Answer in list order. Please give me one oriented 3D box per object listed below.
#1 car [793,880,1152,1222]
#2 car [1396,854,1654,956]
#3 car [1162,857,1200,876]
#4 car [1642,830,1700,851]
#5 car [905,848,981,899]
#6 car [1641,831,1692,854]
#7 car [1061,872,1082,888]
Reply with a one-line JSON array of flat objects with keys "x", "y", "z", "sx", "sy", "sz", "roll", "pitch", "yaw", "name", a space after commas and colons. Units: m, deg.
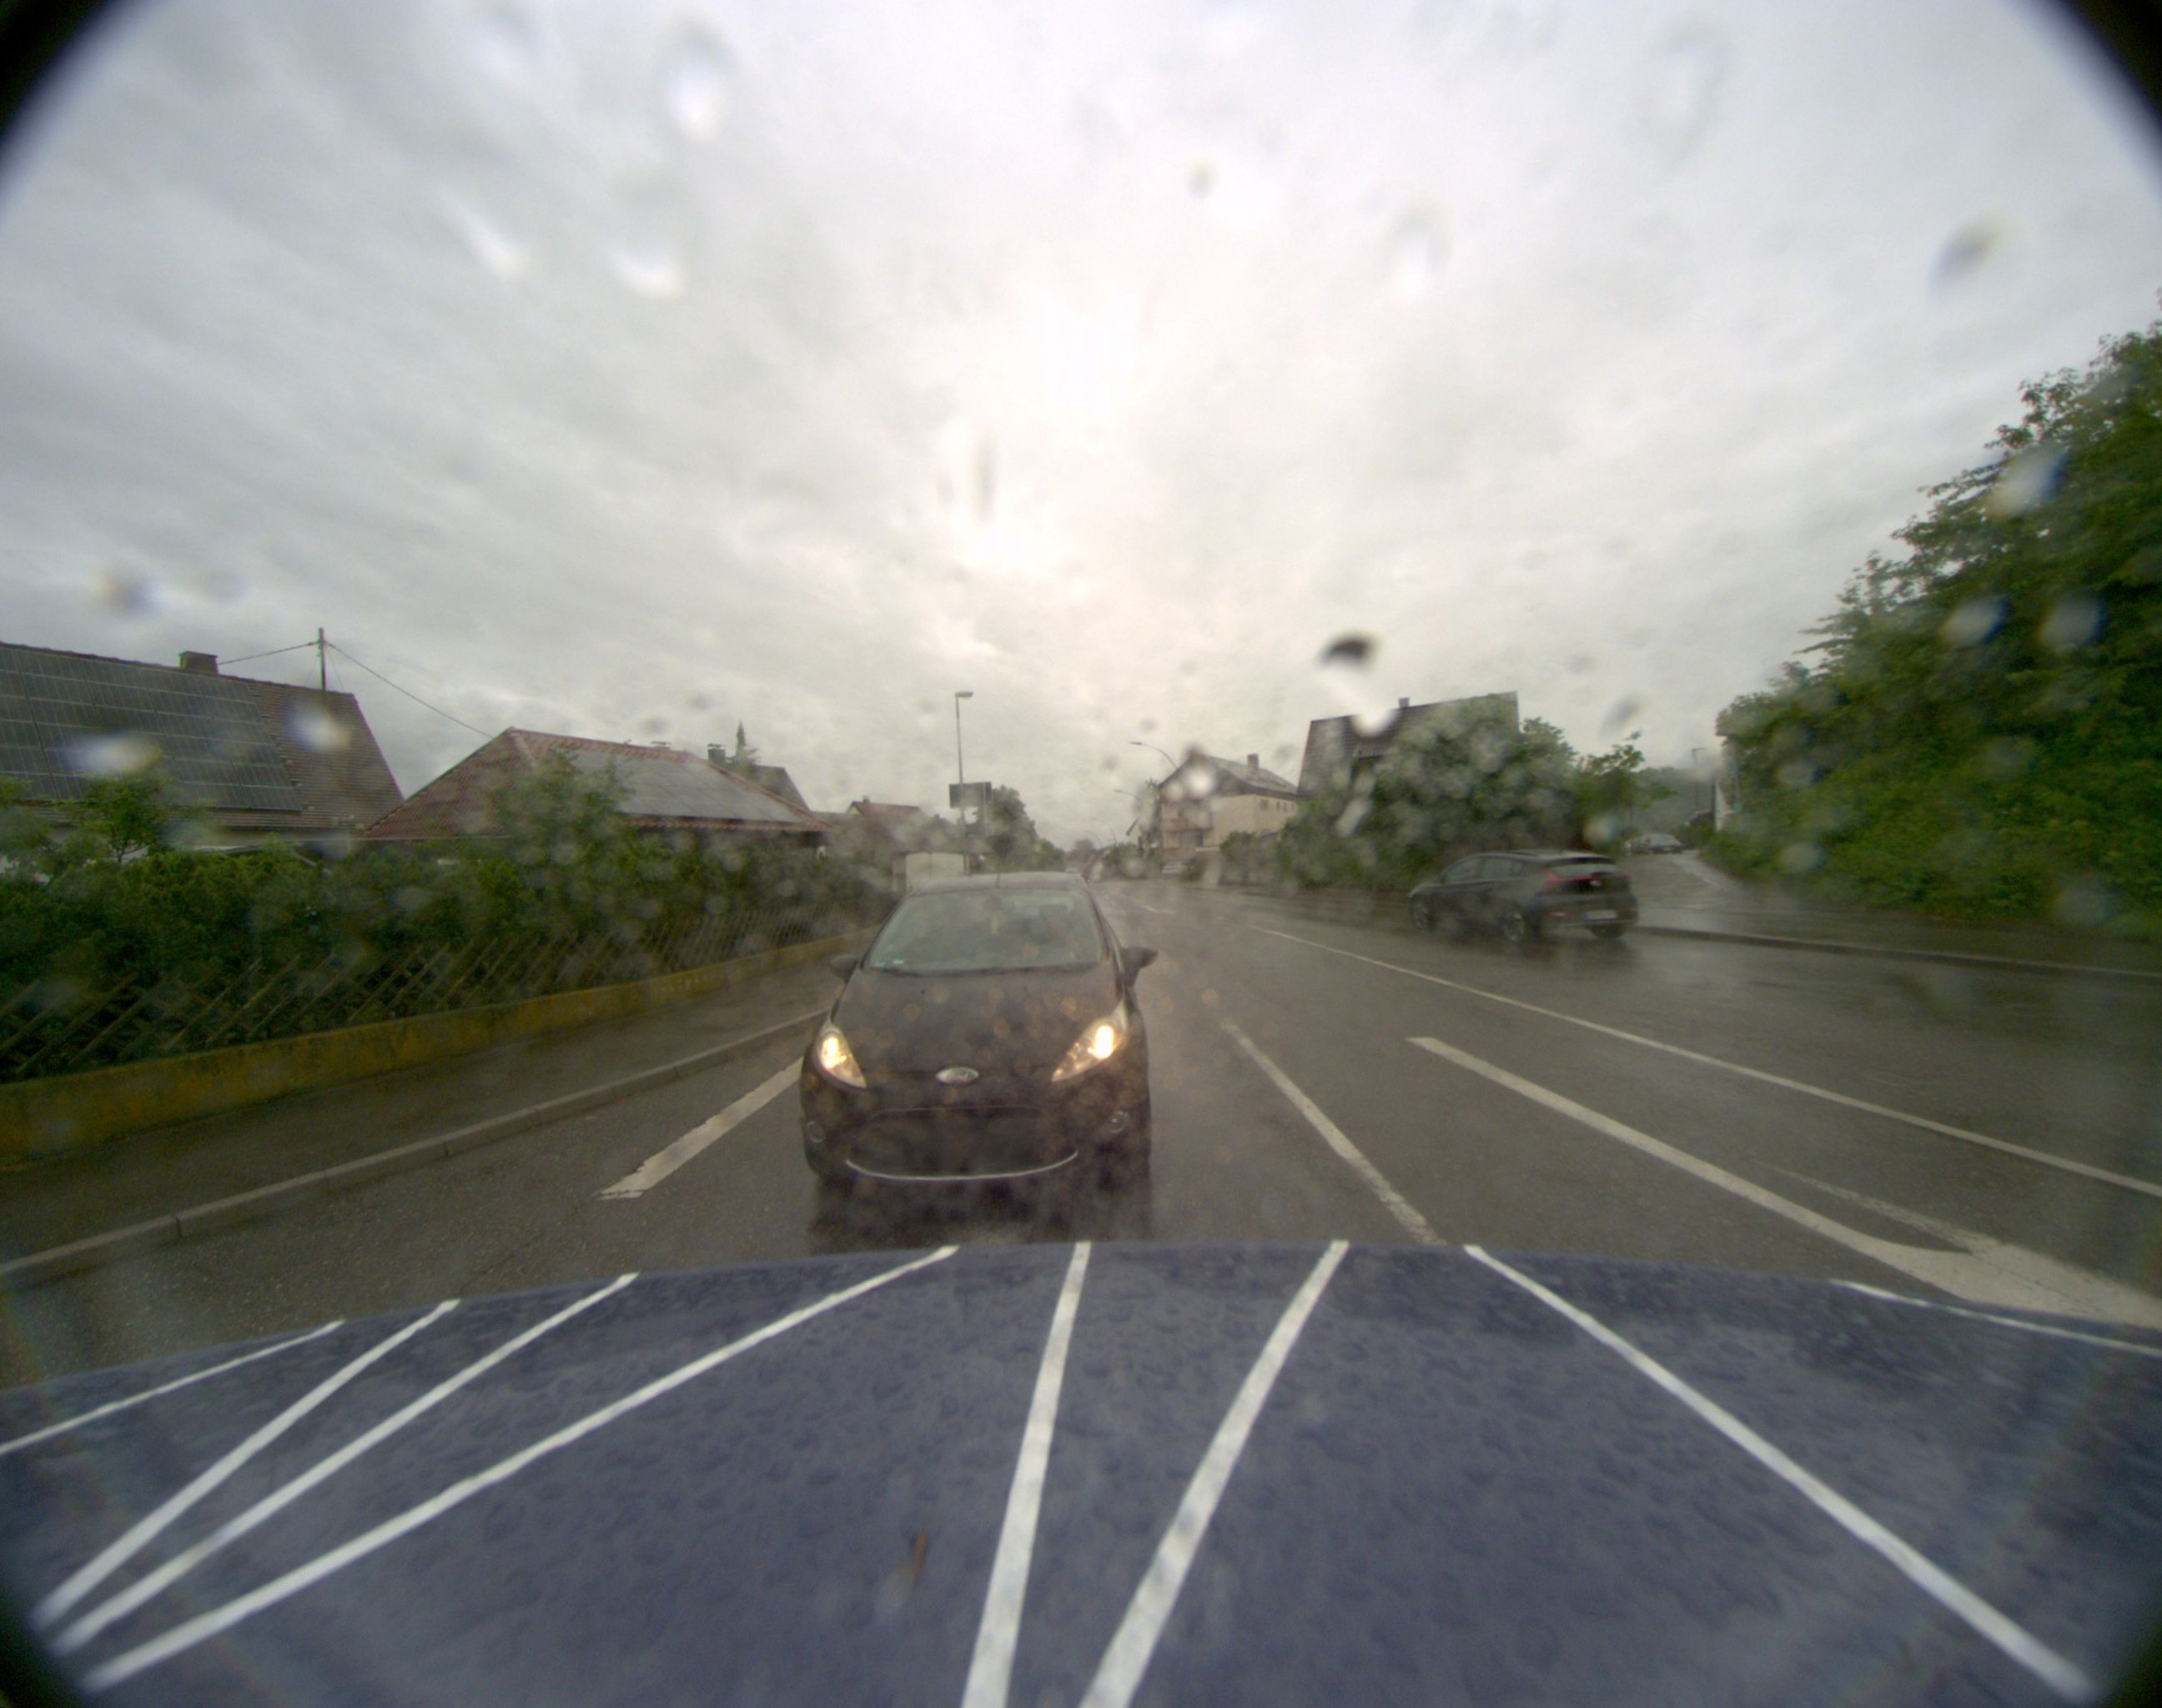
[{"x": -0.561, "y": 1.012, "z": 5.622, "sx": 1.666, "sy": 1.410, "sz": 3.931, "roll": -2, "pitch": 1, "yaw": -1, "name": "car"}, {"x": 7.324, "y": 0.742, "z": 13.082, "sx": 1.670, "sy": 1.430, "sz": 4.105, "roll": 0, "pitch": 0, "yaw": -8, "name": "car"}, {"x": 8.817, "y": 1.094, "z": 66.898, "sx": 1.661, "sy": 1.538, "sz": 4.007, "roll": -2, "pitch": 1, "yaw": 34, "name": "car"}, {"x": 45.650, "y": -1.029, "z": 58.861, "sx": 1.997, "sy": 1.477, "sz": 4.004, "roll": -3, "pitch": 0, "yaw": 13, "name": "car"}, {"x": -6.935, "y": 0.953, "z": 38.565, "sx": 1.650, "sy": 2.337, "sz": 4.007, "roll": -2, "pitch": 0, "yaw": 27, "name": "car"}, {"x": 40.738, "y": -0.764, "z": 52.934, "sx": 1.895, "sy": 1.474, "sz": 4.007, "roll": -2, "pitch": 0, "yaw": 24, "name": "car"}, {"x": -0.960, "y": 2.520, "z": 74.443, "sx": 1.899, "sy": 1.474, "sz": 3.999, "roll": -2, "pitch": 0, "yaw": -3, "name": "car"}]
